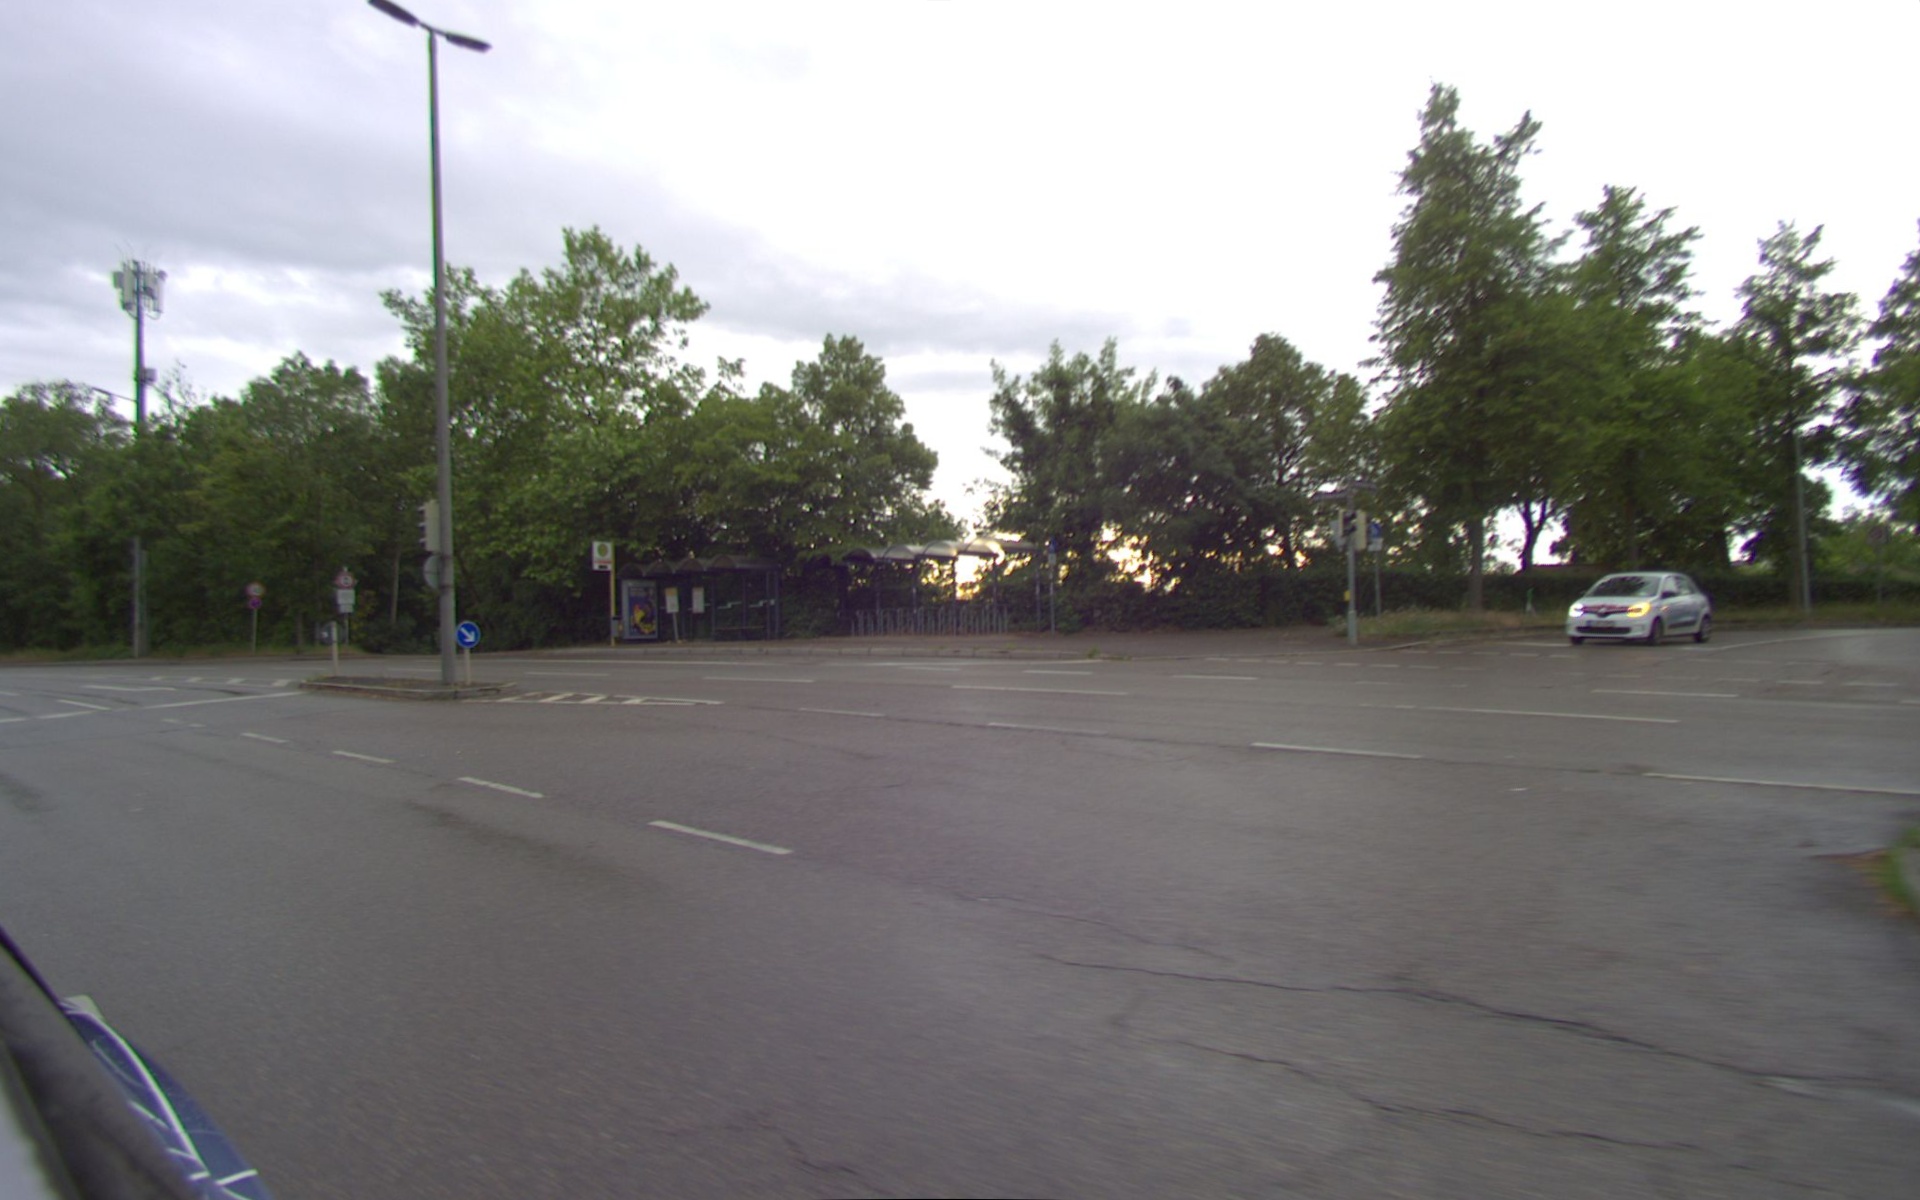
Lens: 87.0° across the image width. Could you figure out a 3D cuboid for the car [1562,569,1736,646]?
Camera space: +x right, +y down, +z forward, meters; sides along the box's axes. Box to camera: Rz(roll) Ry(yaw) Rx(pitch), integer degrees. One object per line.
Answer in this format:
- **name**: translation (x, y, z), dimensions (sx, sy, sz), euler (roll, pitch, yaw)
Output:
- **car**: translation (14.721, 0.119, 21.591), dimensions (3.635, 1.489, 1.767), euler (-2, 1, -32)
